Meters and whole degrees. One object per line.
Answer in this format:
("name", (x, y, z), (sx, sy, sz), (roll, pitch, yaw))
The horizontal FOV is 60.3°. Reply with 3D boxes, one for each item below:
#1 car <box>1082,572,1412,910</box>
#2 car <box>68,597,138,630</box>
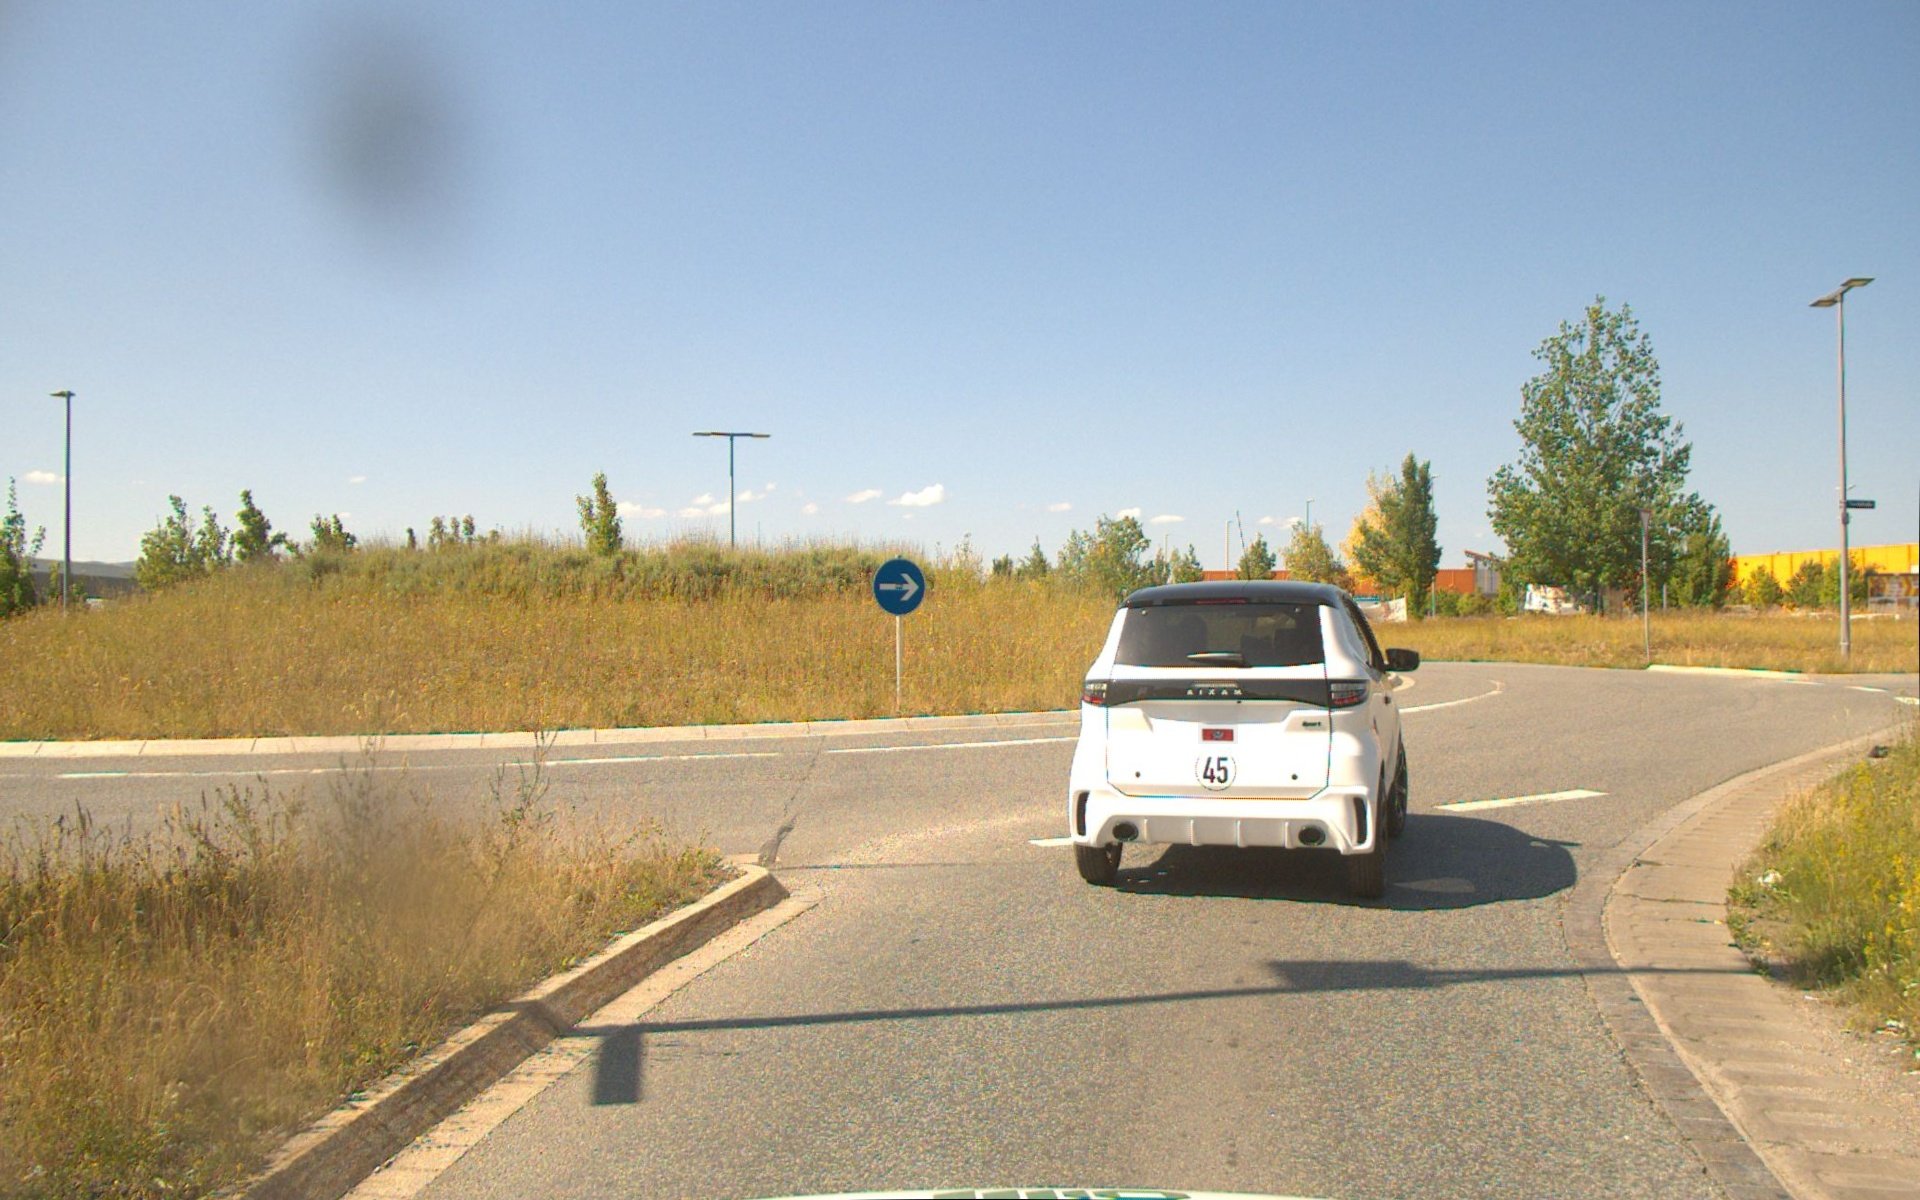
("car", (1.719, 0.592, 9.106), (1.477, 1.465, 3.354), (0, 1, 15))
("car", (-46.945, 0.772, 90.683), (1.954, 1.762, 3.996), (-1, -1, -4))
